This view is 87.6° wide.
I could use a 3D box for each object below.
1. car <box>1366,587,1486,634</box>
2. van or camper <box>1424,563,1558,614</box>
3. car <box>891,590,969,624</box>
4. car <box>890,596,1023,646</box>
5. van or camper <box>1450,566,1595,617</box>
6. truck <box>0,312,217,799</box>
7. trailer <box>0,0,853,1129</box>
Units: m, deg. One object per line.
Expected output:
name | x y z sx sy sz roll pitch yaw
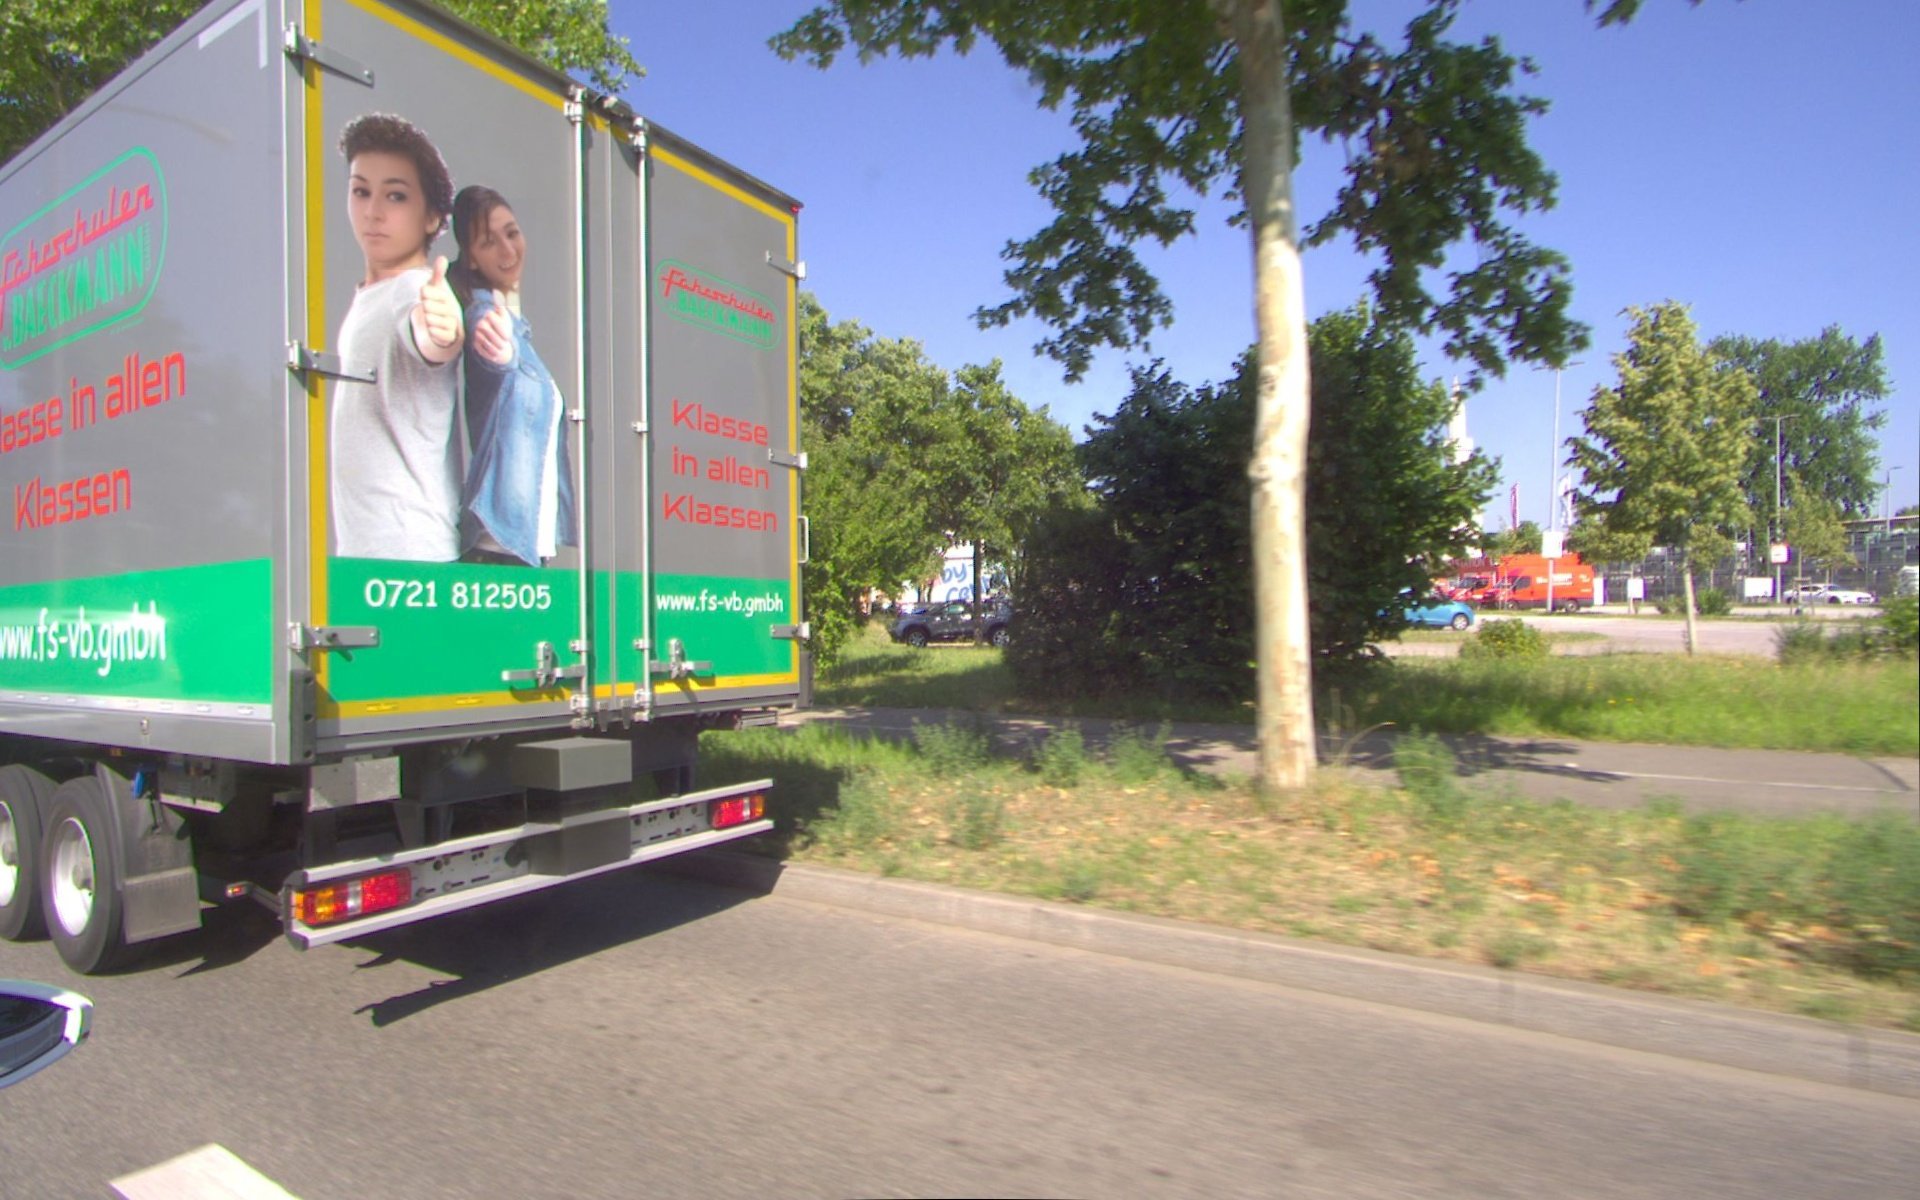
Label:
car | 16.181 0.387 34.852 3.419 1.552 1.544 -1 -2 0
van or camper | 32.095 -0.683 60.636 7.146 2.979 2.001 0 -2 -3
car | -1.580 0.382 53.774 3.923 1.705 2.001 -1 -2 7
car | -0.115 0.656 30.519 3.922 1.438 1.907 -1 -2 0
van or camper | 31.887 -0.449 56.881 7.146 2.739 2.001 0 -2 -3
truck | -11.267 -0.234 10.611 8.604 3.940 2.723 -2 -1 34
trailer | -4.510 -0.335 6.111 7.629 3.927 2.730 -2 -1 33
